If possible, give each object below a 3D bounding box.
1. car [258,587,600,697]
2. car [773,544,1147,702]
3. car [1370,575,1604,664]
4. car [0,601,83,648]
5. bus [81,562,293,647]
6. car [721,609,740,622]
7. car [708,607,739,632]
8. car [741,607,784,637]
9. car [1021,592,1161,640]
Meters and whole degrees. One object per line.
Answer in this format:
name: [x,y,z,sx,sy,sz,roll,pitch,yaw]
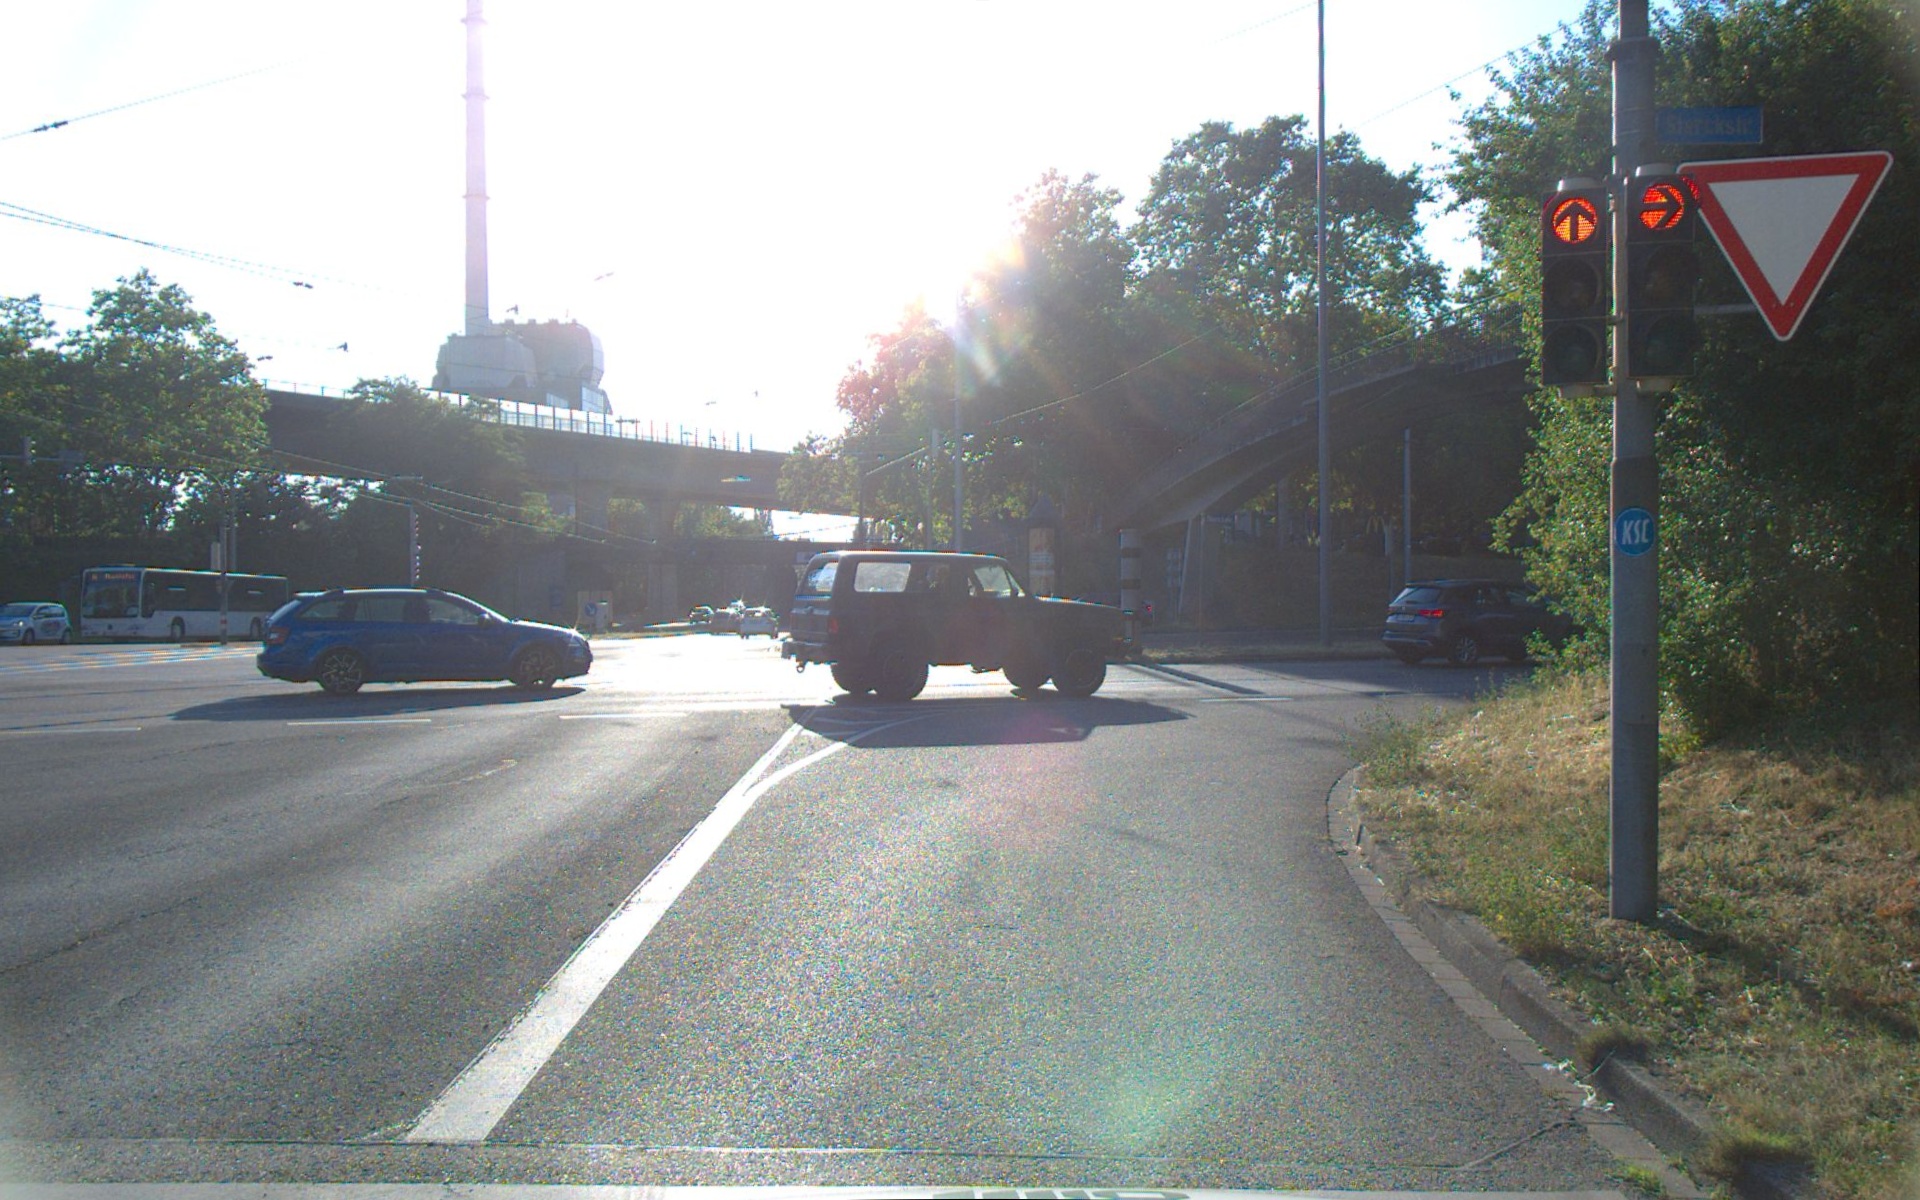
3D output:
car: [-7.614,0.569,23.861,4.546,1.484,1.682,0,0,-22]
car: [-0.004,0.301,23.124,4.860,2.026,2.023,0,0,-23]
car: [10.026,0.352,31.430,4.177,1.602,1.682,0,0,-23]
car: [-32.167,0.818,57.319,1.574,1.538,4.006,1,0,-3]
bus: [-32.008,0.307,69.350,2.491,3.185,12.919,-1,-1,2]
car: [-26.535,1.779,191.645,1.573,1.444,4.008,1,0,1]
car: [-14.041,1.123,98.290,1.633,1.429,4.439,1,0,-6]
car: [-9.658,1.053,81.039,1.631,1.429,4.196,1,0,-1]
car: [4.517,0.552,57.058,4.505,1.602,1.685,1,0,-18]
